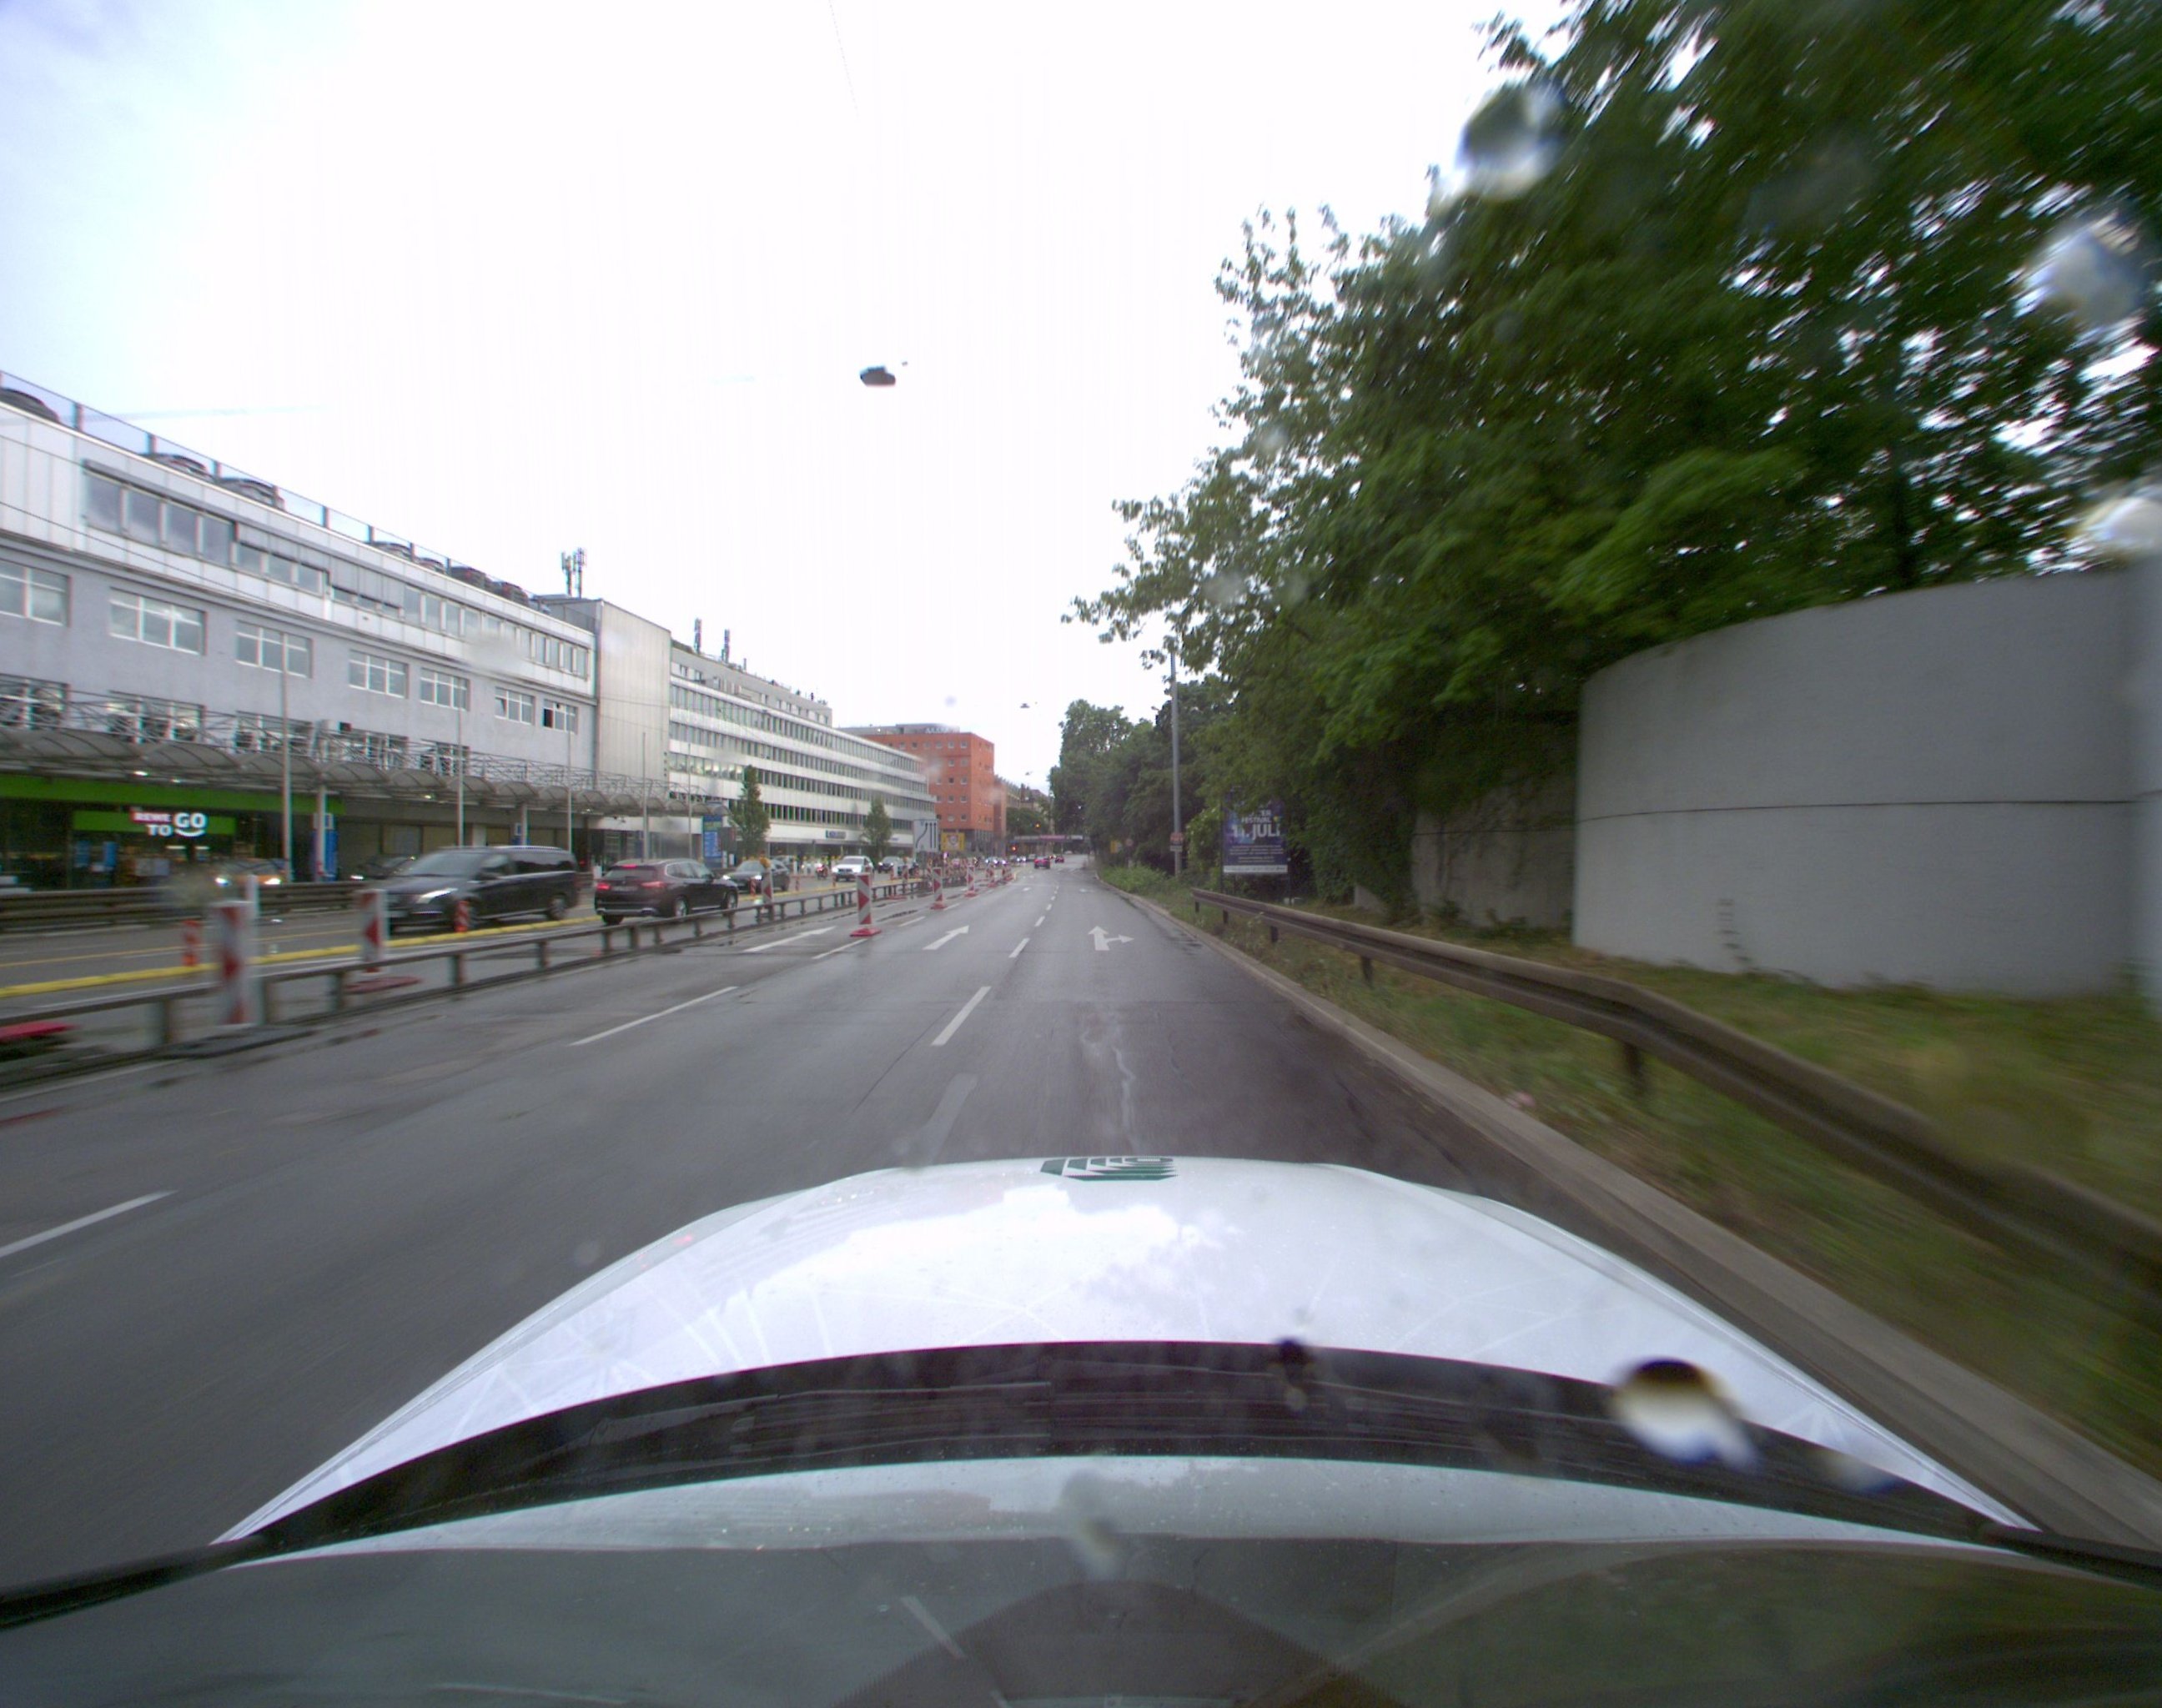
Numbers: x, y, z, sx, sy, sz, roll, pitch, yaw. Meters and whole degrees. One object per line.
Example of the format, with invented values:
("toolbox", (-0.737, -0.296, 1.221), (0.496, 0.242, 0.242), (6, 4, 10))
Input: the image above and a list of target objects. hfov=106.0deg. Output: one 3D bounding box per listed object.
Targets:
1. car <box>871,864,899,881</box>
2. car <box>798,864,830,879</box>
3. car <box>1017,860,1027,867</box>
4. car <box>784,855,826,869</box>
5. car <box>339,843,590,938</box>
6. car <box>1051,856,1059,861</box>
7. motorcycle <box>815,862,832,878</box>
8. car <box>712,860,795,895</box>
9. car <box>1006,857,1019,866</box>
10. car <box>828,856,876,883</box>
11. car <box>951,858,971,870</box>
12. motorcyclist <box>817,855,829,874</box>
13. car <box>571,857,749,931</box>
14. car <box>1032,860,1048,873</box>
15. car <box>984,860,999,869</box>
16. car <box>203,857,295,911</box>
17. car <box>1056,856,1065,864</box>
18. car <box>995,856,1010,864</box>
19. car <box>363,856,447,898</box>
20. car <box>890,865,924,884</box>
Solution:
("car", (-18.485, 1.736, 76.939), (1.705, 1.536, 4.076), (-1, 0, -1))
("car", (-27.387, 1.784, 83.613), (1.644, 1.535, 3.761), (-1, -1, 5))
("car", (-13.082, 2.026, 180.526), (1.822, 1.502, 4.376), (-1, -1, 3))
("car", (-33.060, 0.976, 97.521), (4.404, 1.652, 1.834), (-1, -1, -35))
("car", (-14.410, 0.782, 19.562), (1.987, 1.937, 5.230), (-1, -1, 0))
("car", (-7.799, 1.237, 243.016), (1.986, 1.519, 4.002), (1, -1, 2))
("motorcycle", (-18.042, 1.137, 57.087), (0.577, 1.102, 2.027), (-1, -1, 0))
("car", (-14.660, 1.023, 36.753), (1.845, 1.466, 4.706), (-1, -1, 0))
("car", (-13.985, 1.541, 167.428), (1.836, 1.737, 4.611), (0, -1, 6))
("car", (-15.080, 1.004, 53.863), (1.932, 1.690, 4.578), (-1, 0, -1))
("car", (-14.309, 1.228, 97.191), (1.730, 1.404, 4.287), (1, -1, -1))
("motorcyclist", (-18.055, 0.731, 57.009), (0.586, 1.363, 0.561), (-1, 0, -1))
("car", (-10.874, 0.938, 21.498), (1.938, 1.597, 4.676), (2, 1, 4))
("car", (-5.991, 1.880, 119.655), (2.114, 1.734, 4.197), (2, 1, -1))
("car", (-15.782, 1.915, 144.044), (1.799, 1.558, 4.307), (0, -1, 5))
("car", (-29.835, 1.047, 29.163), (4.388, 1.770, 1.980), (-2, -1, 40))
("car", (-4.625, 1.305, 180.691), (1.757, 1.697, 3.706), (-1, -1, 1))
("car", (-12.804, 0.962, 133.465), (1.680, 1.354, 4.121), (-1, -1, 6))
("car", (-29.249, 1.009, 35.183), (4.422, 1.679, 2.026), (-2, -1, 40))
("car", (-14.665, 1.695, 68.838), (1.953, 1.521, 4.298), (0, 0, -1))
